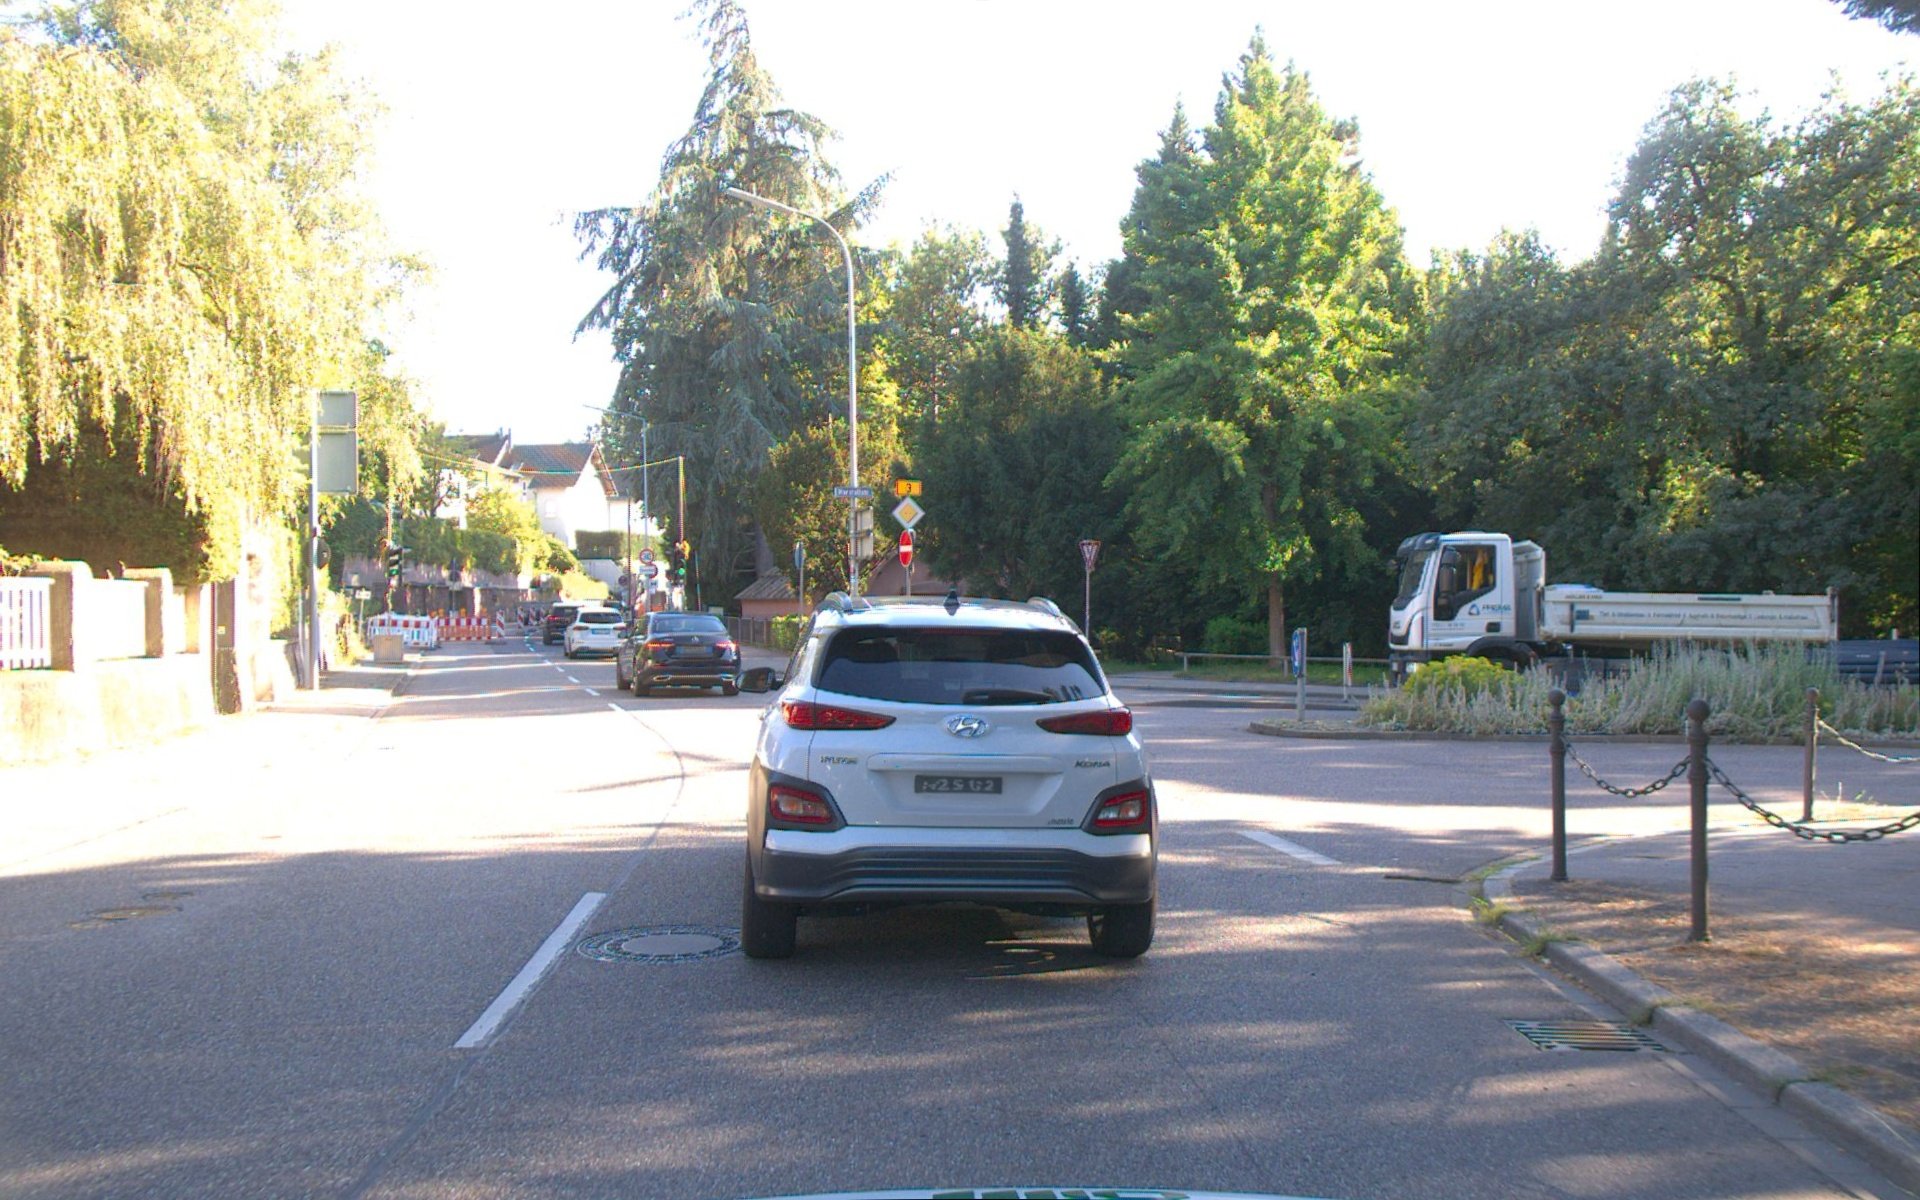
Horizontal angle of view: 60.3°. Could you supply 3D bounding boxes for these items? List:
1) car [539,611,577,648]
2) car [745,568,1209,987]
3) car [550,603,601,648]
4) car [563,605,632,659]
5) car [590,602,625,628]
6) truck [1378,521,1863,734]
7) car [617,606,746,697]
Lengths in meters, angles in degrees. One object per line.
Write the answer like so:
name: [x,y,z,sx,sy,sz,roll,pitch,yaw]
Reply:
car: [-20.507,1.472,84.241,1.801,1.771,3.985,2,-1,-14]
car: [-0.172,0.710,8.441,1.786,1.601,3.993,2,0,-8]
car: [-15.302,0.996,65.693,1.801,1.691,3.984,2,-1,-15]
car: [-11.215,0.965,51.066,1.776,1.564,3.982,2,0,-16]
car: [-23.724,1.028,111.458,1.796,1.691,3.995,1,0,-5]
truck: [9.899,0.394,25.347,6.447,2.945,2.435,1,-1,6]
car: [-5.042,0.864,29.528,1.681,1.459,4.344,2,0,-17]
